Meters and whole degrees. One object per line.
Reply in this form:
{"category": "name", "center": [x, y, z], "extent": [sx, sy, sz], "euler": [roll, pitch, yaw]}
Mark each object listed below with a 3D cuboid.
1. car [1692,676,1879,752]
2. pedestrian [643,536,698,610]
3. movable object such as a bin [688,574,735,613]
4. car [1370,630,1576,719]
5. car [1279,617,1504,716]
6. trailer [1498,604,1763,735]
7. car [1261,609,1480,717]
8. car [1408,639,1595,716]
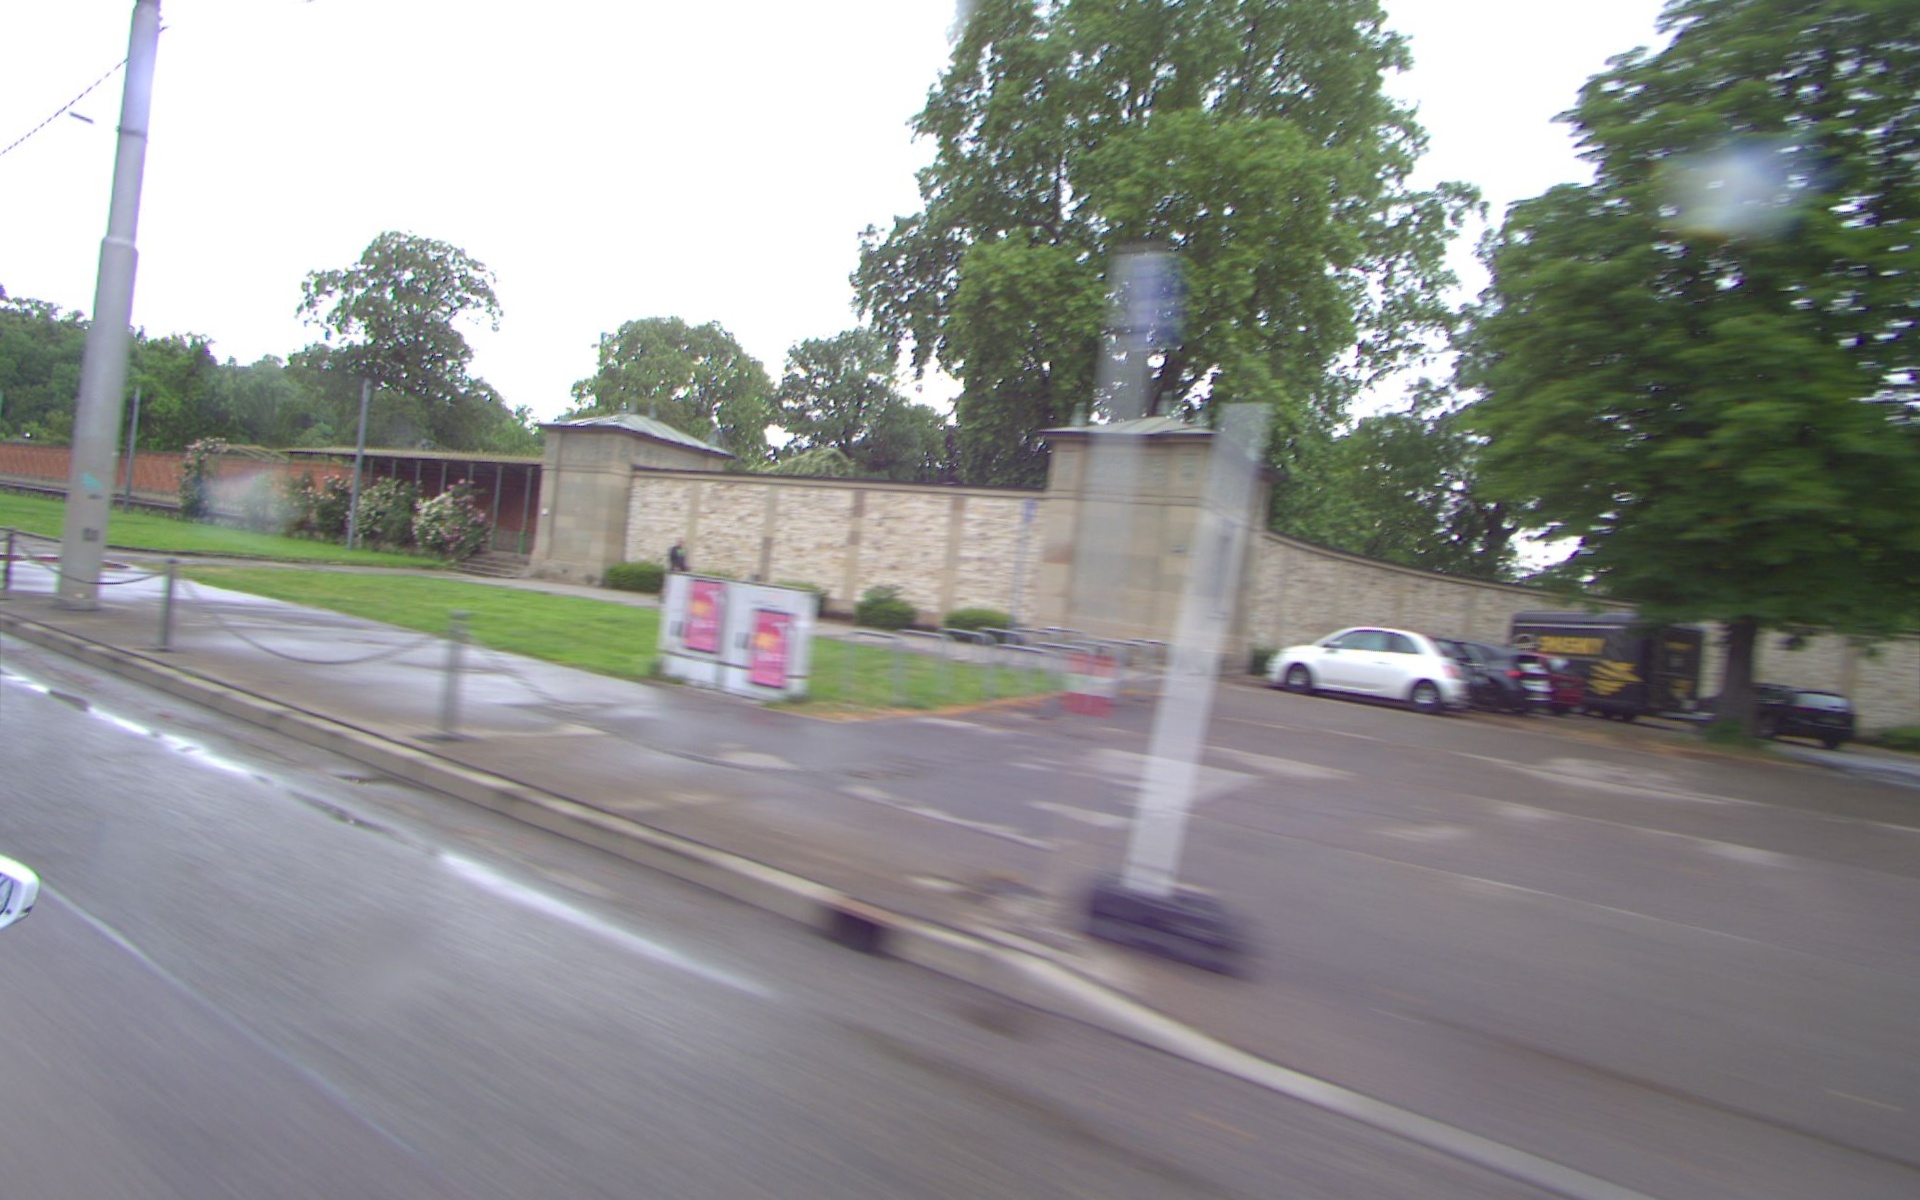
{"category": "car", "center": [21.986, 2.994, 27.053], "extent": [1.708, 1.425, 4.279], "euler": [6, 0, 7]}
{"category": "pedestrian", "center": [-7.198, -0.671, 24.993], "extent": [0.965, 1.732, 0.729], "euler": [6, 1, 33]}
{"category": "movable object such as a bin", "center": [-6.169, -0.165, 24.963], "extent": [1.172, 0.883, 0.342], "euler": [6, 1, 33]}
{"category": "car", "center": [12.030, 1.706, 23.915], "extent": [1.752, 1.547, 4.080], "euler": [6, 0, -23]}
{"category": "car", "center": [9.115, 1.365, 21.550], "extent": [4.111, 1.508, 1.899], "euler": [6, 0, 21]}
{"category": "trailer", "center": [17.741, 1.717, 27.092], "extent": [2.115, 2.821, 5.634], "euler": [6, 0, -17]}
{"category": "car", "center": [7.924, 1.183, 19.471], "extent": [3.538, 1.473, 1.838], "euler": [8, 1, 32]}
{"category": "car", "center": [14.147, 1.992, 26.550], "extent": [1.659, 1.460, 4.130], "euler": [6, 0, -23]}
